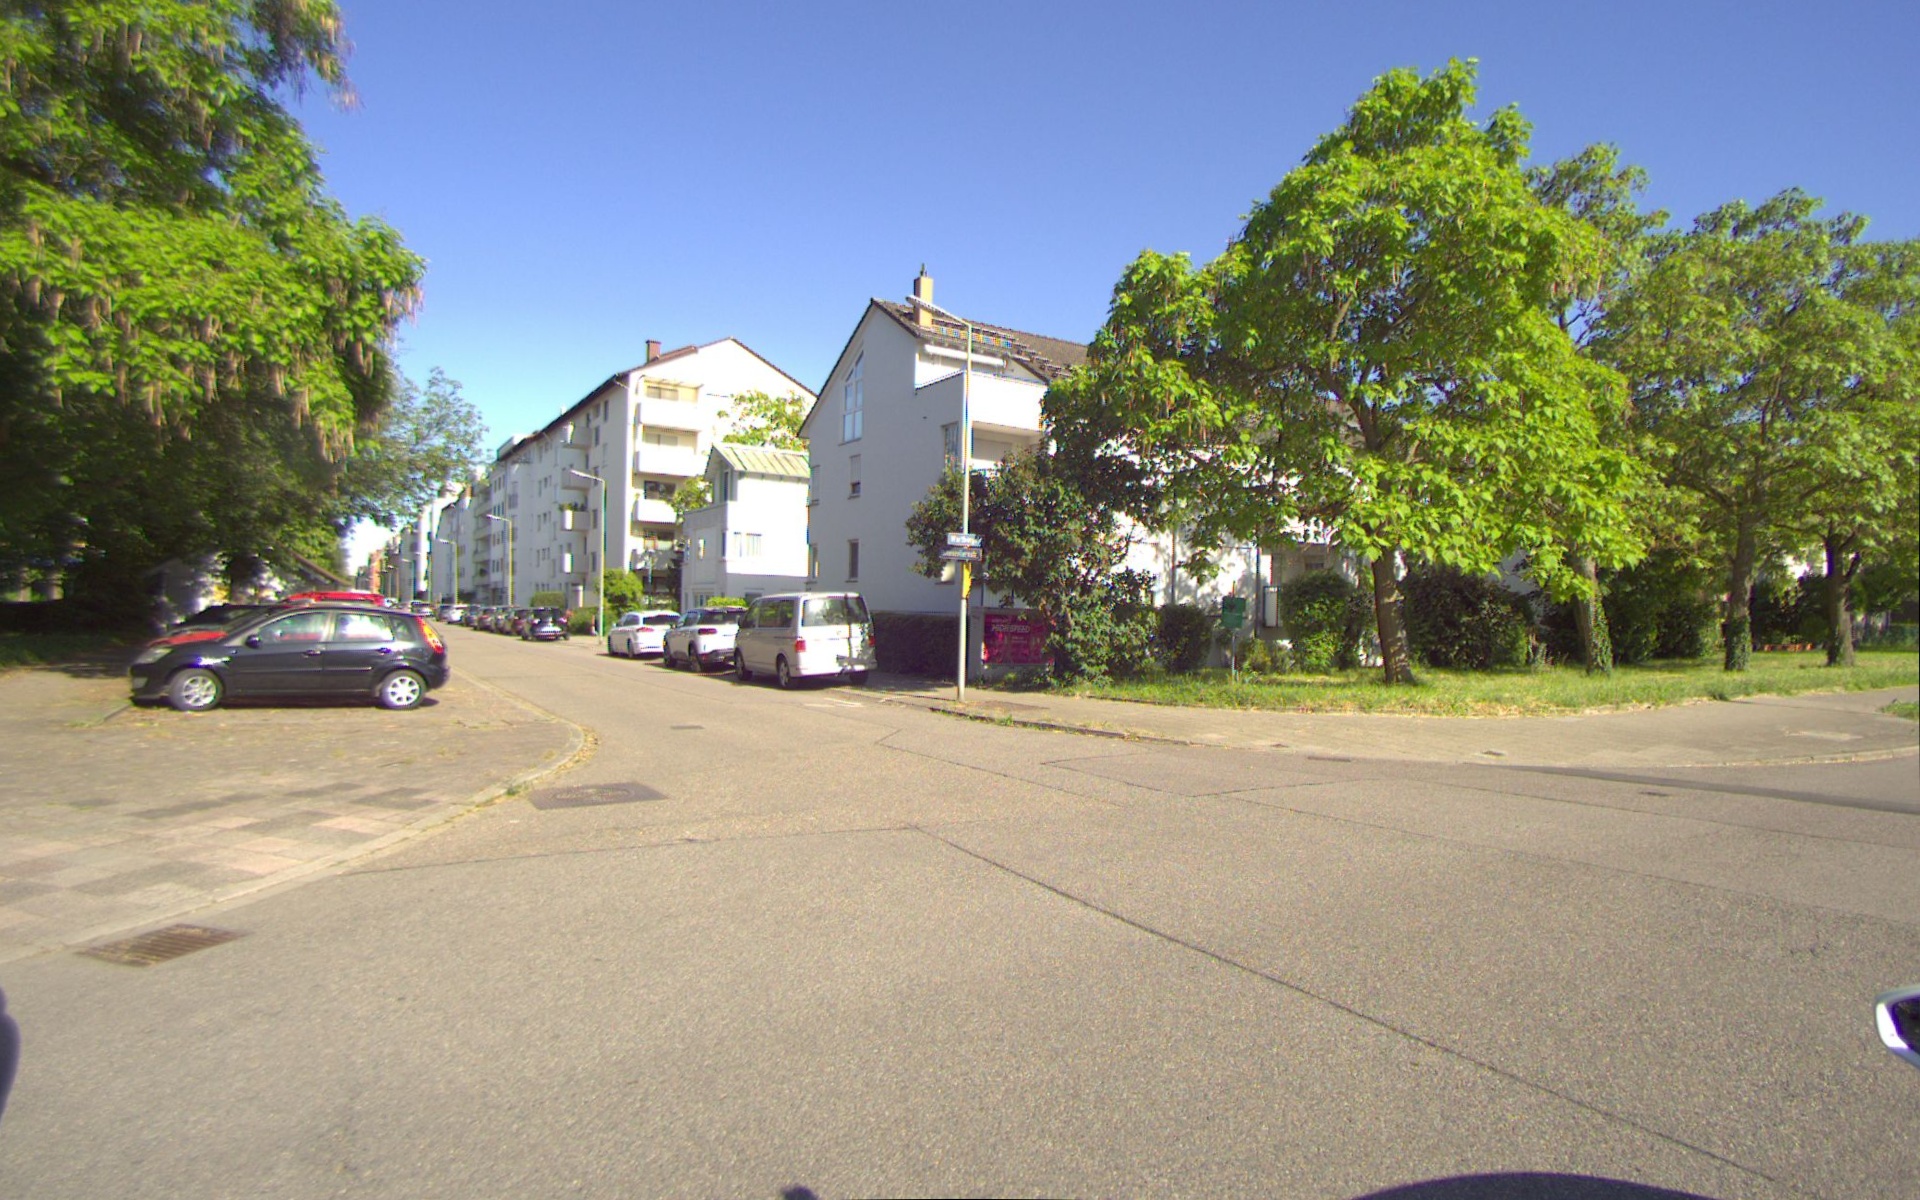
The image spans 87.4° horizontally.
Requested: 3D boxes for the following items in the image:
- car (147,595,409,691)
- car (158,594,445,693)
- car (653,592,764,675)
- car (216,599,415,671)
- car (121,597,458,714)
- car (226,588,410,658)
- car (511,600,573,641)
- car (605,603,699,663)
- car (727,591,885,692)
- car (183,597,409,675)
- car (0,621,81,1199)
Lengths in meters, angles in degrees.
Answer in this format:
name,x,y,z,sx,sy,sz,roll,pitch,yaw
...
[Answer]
name,x,y,z,sx,sy,sz,roll,pitch,yaw
car,-12.610,0.820,18.813,3.846,1.624,1.660,3,-2,-34
car,-10.980,0.751,16.994,3.846,1.506,1.660,3,-2,-34
car,-6.809,0.849,26.907,1.914,2.024,3.969,1,-1,-29
car,-15.338,0.858,24.073,3.846,1.578,1.660,3,-2,-34
car,-9.592,0.811,14.671,3.846,1.506,1.660,3,-2,-34
car,-18.511,0.698,29.134,4.311,1.831,1.660,3,-2,-34
car,-19.302,0.911,46.319,1.979,1.806,3.964,1,-1,-33
car,-10.078,1.025,32.696,1.901,1.806,4.058,1,-1,-33
car,-3.518,0.847,22.275,2.044,1.995,4.431,0,-1,-29
car,-14.070,0.783,21.486,3.846,1.506,1.660,3,-2,-34
car,-3.960,0.712,1.313,4.159,1.485,1.646,4,-4,-43
